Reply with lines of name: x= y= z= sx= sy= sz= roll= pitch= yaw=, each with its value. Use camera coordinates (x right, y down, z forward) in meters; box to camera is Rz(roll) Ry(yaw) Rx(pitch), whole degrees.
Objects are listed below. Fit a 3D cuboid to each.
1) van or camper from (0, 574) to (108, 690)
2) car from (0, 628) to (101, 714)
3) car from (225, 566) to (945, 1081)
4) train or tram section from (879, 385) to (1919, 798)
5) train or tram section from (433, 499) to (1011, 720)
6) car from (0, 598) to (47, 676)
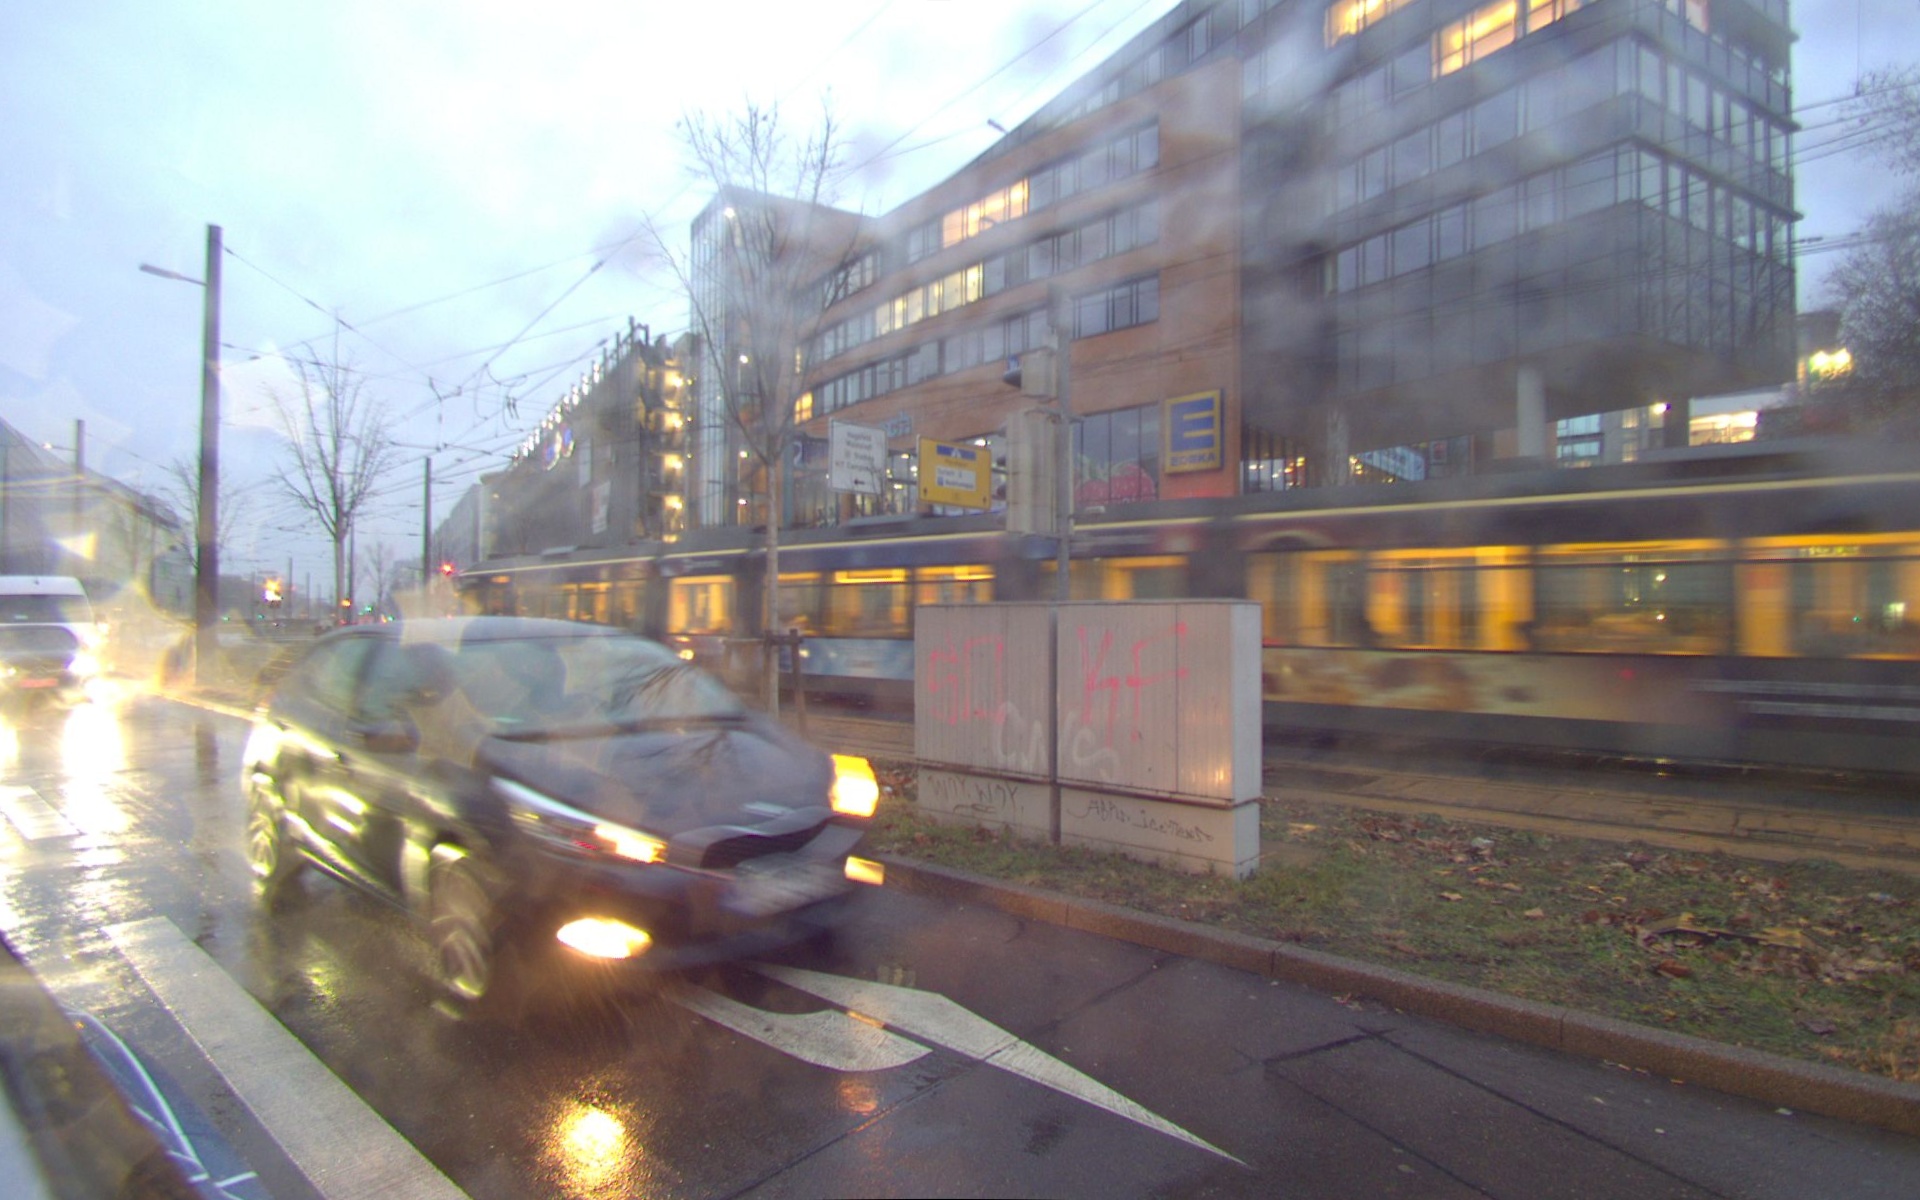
van or camper: x=-22.931 y=0.764 z=24.842 sx=5.894 sy=2.551 sz=2.126 roll=-1 pitch=-2 yaw=40
car: x=-17.691 y=1.268 z=19.155 sx=4.057 sy=1.355 sz=1.735 roll=1 pitch=0 yaw=44
car: x=-2.069 y=0.696 z=4.944 sx=3.940 sy=1.535 sz=1.613 roll=-1 pitch=-2 yaw=41
train or tram section: x=6.940 y=0.001 z=12.030 sx=19.194 sy=3.642 sz=2.836 roll=-1 pitch=-2 yaw=40
train or tram section: x=-7.392 y=0.338 z=24.545 sx=20.068 sy=3.642 sz=2.833 roll=-1 pitch=-2 yaw=43
car: x=-37.735 y=1.434 z=39.638 sx=5.808 sy=2.885 sz=2.103 roll=-1 pitch=-2 yaw=40
